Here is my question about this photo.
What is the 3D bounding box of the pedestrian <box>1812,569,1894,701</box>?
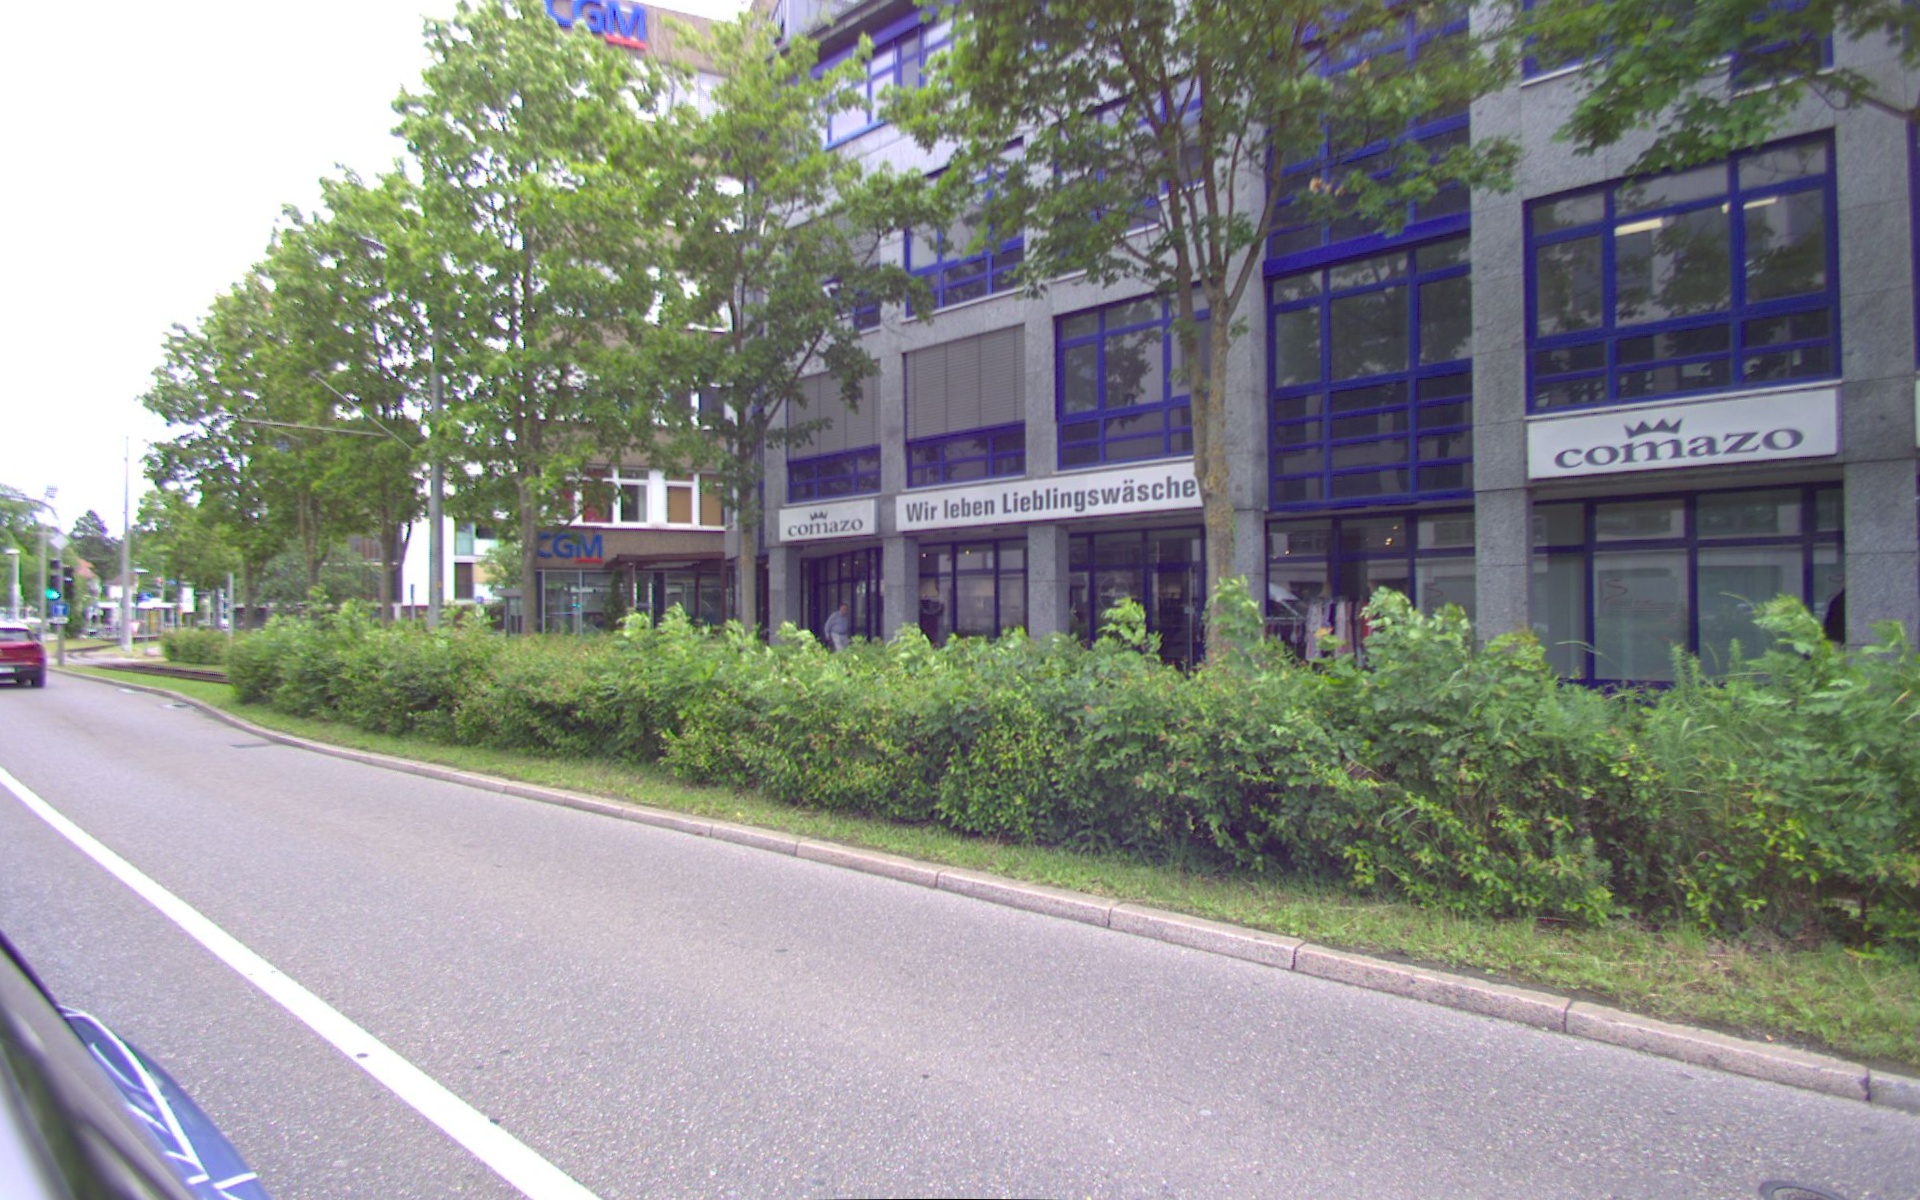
[{"bbox_3d":[10.539,0.397,11.963,0.679,1.493,0.690,-2,0,41],"label":"pedestrian"}]

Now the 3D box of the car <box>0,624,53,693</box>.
[{"bbox_3d":[-24.020,1.413,25.117,4.133,1.601,1.732,-2,-3,41],"label":"car"}]

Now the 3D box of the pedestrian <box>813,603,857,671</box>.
[{"bbox_3d":[-2.850,0.841,23.055,0.679,1.493,0.690,-2,0,41],"label":"pedestrian"}]
